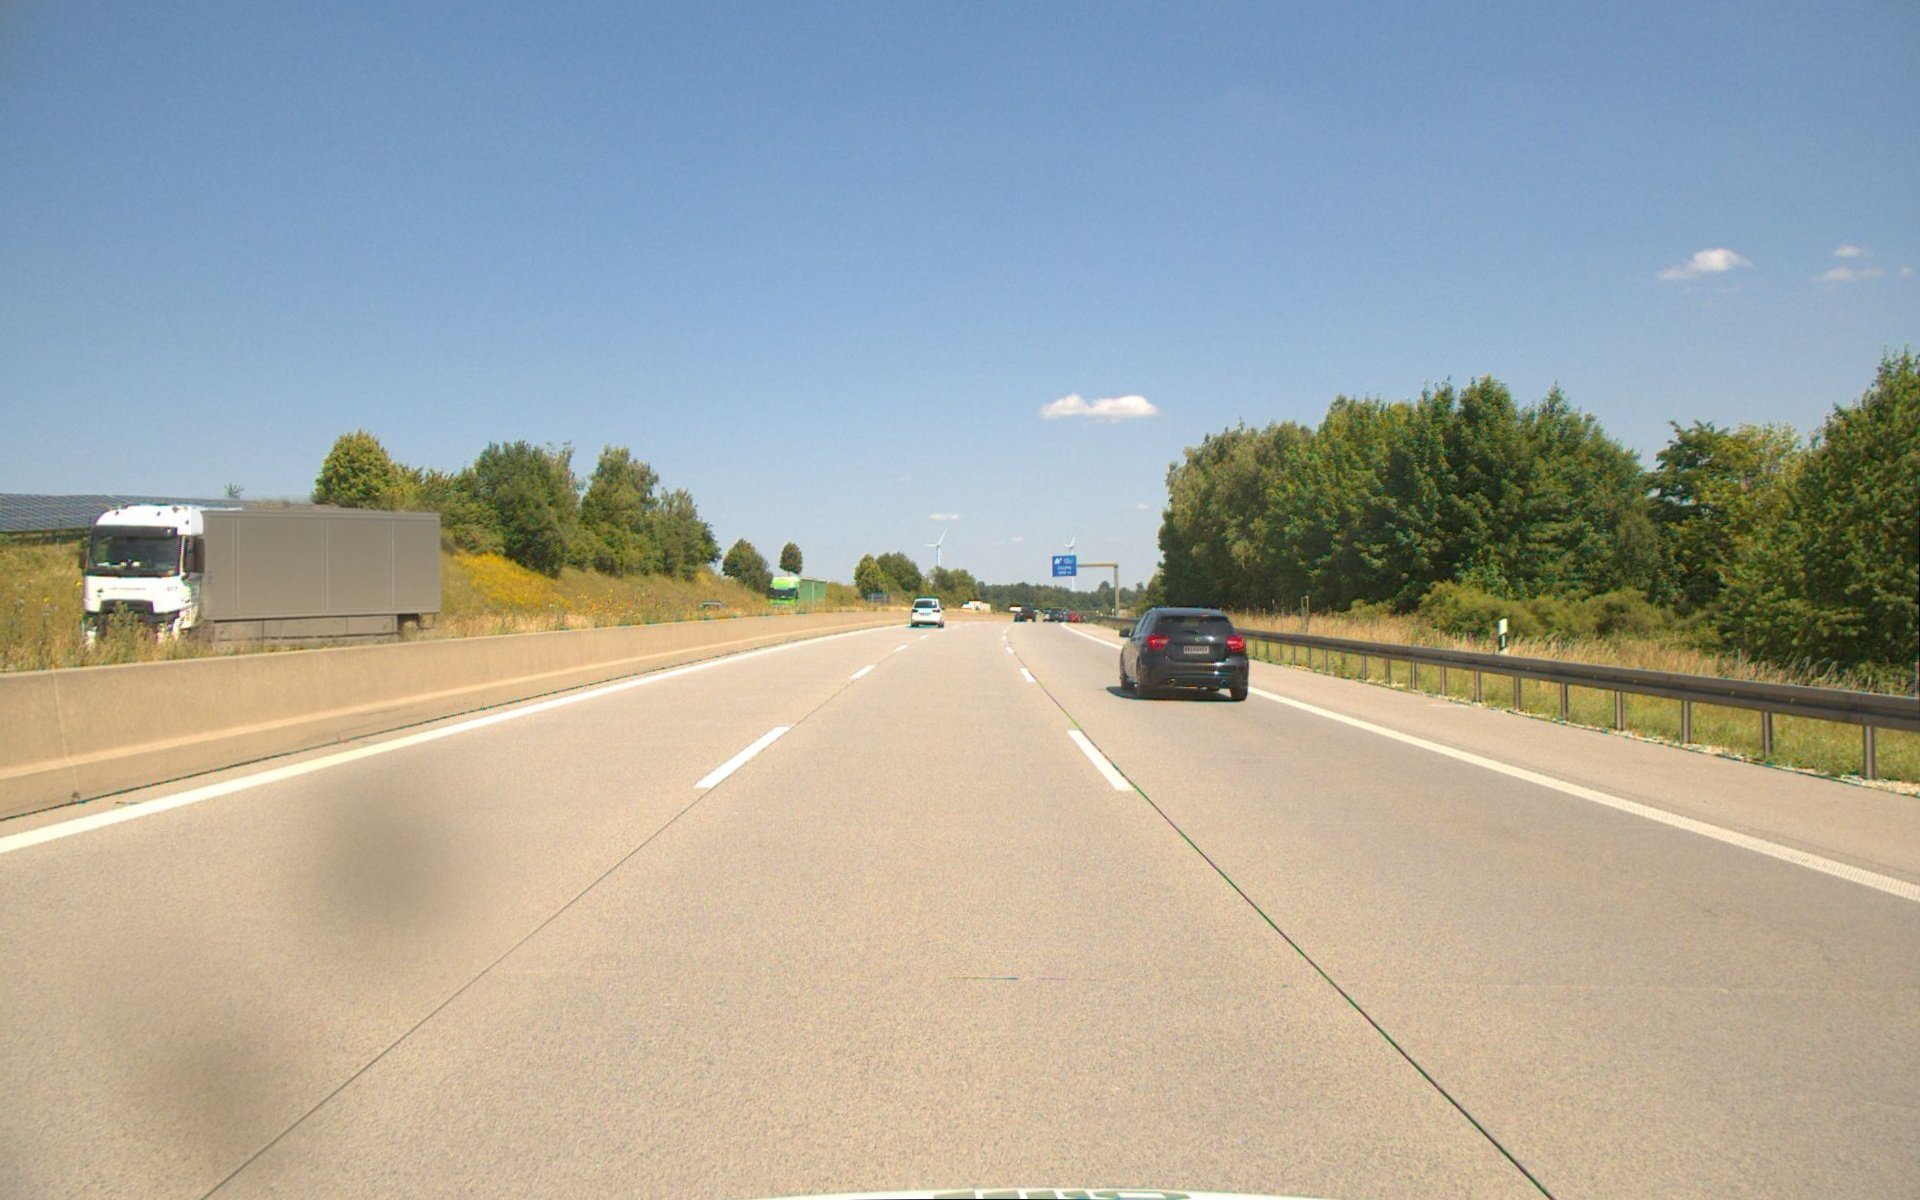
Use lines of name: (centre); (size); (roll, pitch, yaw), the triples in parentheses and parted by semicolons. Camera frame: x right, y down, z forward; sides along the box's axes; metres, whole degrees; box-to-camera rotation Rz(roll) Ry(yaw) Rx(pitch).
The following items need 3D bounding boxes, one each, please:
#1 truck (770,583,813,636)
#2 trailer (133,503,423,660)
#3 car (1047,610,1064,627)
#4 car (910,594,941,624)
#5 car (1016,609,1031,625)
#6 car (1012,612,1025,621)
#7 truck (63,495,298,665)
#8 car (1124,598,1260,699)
truck: (-15.479, 0.871, 152.305); (3.025, 4.743, 6.266); (0, 0, 2)
trailer: (-20.256, -0.498, 50.627); (2.944, 4.131, 14.178); (0, 0, 0)
car: (11.140, 2.107, 192.972); (1.789, 1.940, 4.001); (0, 0, 1)
car: (-2.098, 0.566, 100.183); (1.808, 1.738, 6.034); (0, 0, -1)
car: (7.887, 2.067, 206.191); (1.789, 1.971, 3.810); (0, 0, 3)
car: (8.921, 2.537, 254.081); (1.622, 1.217, 3.958); (3, 0, -3)
truck: (-20.313, -0.497, 43.622); (2.929, 4.131, 6.869); (0, 0, 0)
car: (3.787, 0.743, 27.590); (1.870, 1.518, 4.193); (1, 0, 3)
